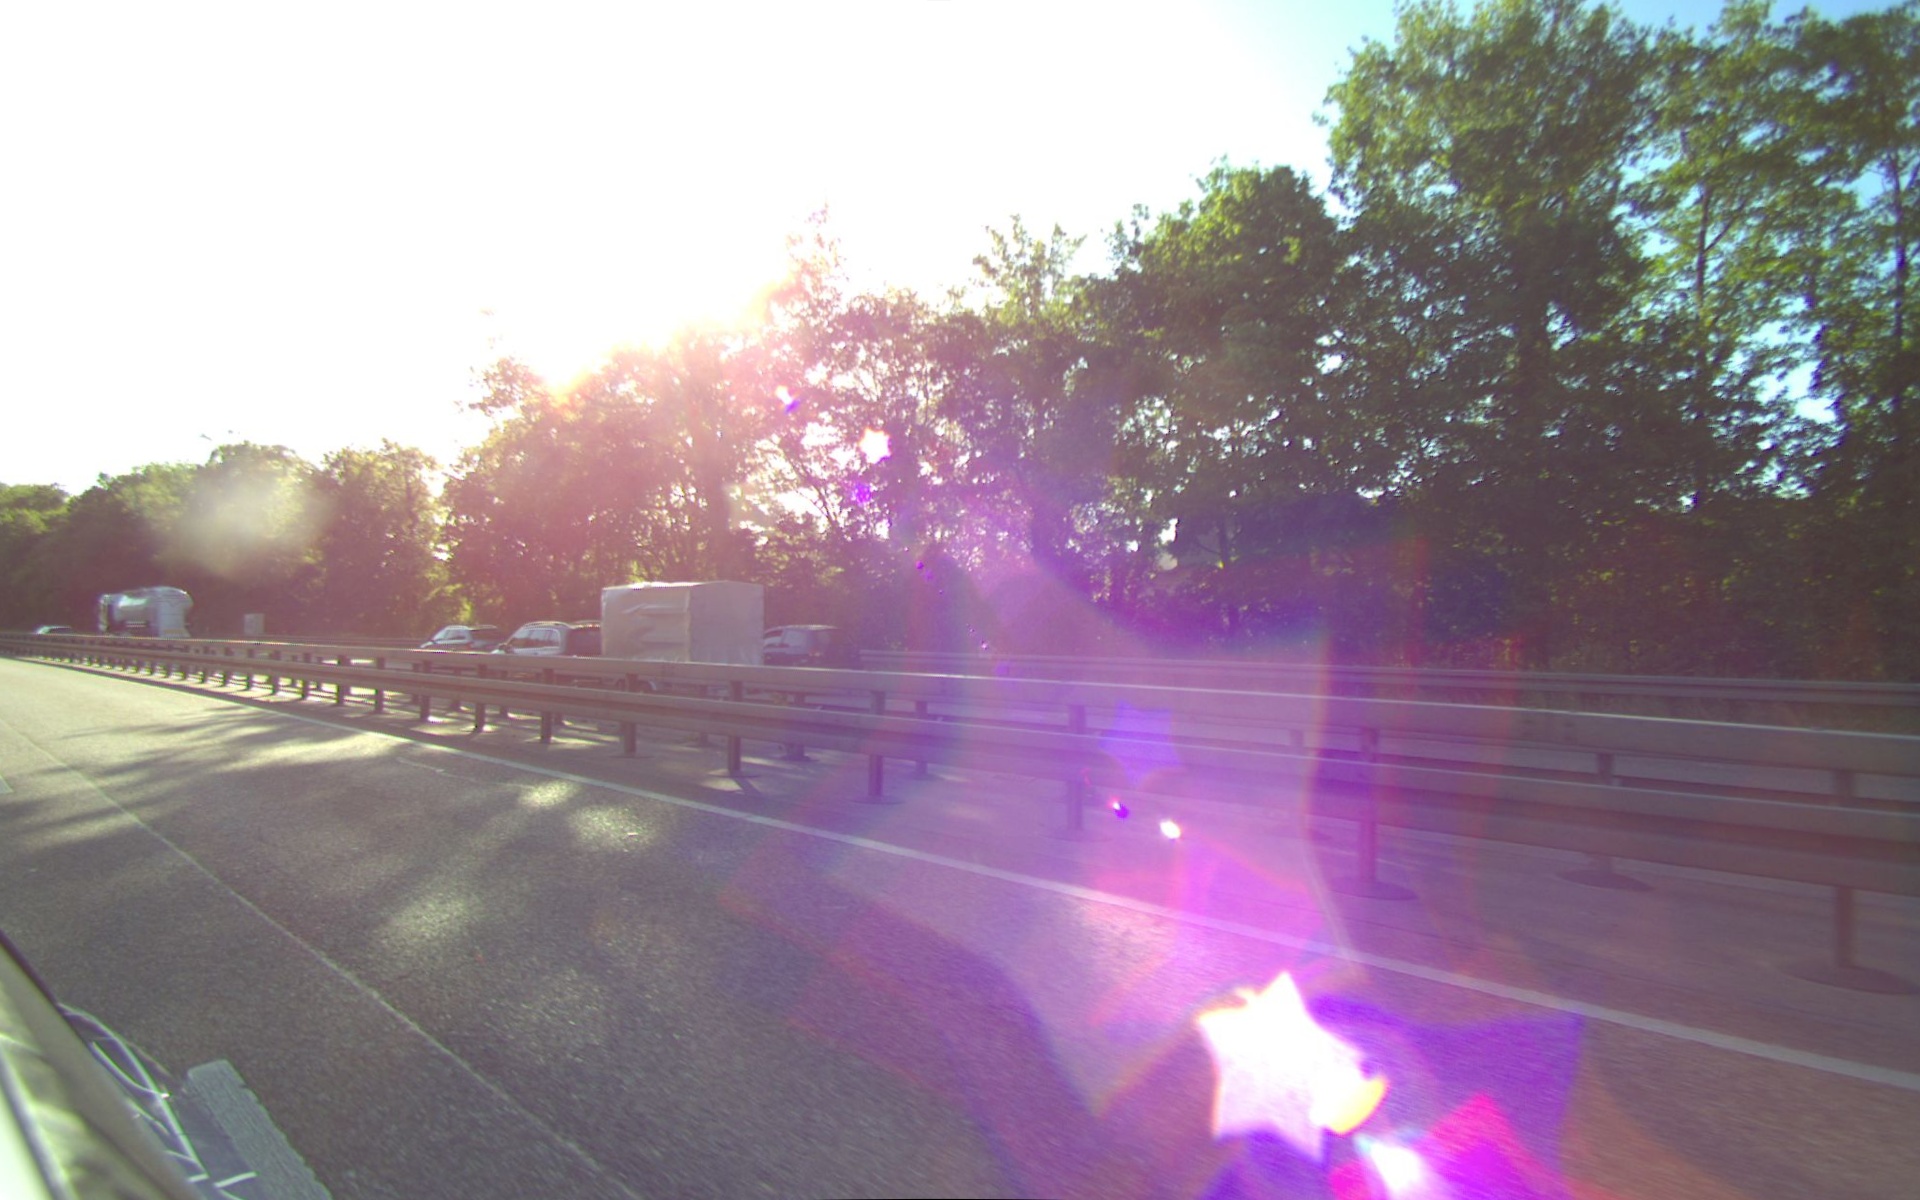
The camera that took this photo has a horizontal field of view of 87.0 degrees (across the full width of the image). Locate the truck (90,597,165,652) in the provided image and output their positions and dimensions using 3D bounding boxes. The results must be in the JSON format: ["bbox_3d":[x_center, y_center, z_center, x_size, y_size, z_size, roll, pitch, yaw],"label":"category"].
[{"bbox_3d":[-58.137,1.750,70.635,6.152,3.658,2.950,-2,-3,41],"label":"truck"}]

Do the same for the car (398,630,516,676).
[{"bbox_3d":[-17.796,1.817,35.720,4.984,1.478,2.049,-2,-2,42],"label":"car"}]

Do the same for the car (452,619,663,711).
[{"bbox_3d":[-8.824,1.331,21.942,5.221,1.761,2.050,-2,-3,40],"label":"car"}]

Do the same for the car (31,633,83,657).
[{"bbox_3d":[-57.485,2.829,64.398,4.692,1.478,1.780,-2,-3,39],"label":"car"}]

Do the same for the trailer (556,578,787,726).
[{"bbox_3d":[-5.541,0.942,19.164,4.603,2.456,1.973,-2,-3,40],"label":"trailer"}]

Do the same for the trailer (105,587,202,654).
[{"bbox_3d":[-52.540,1.417,65.753,10.967,4.028,3.020,-2,-3,41],"label":"trailer"}]

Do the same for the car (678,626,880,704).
[{"bbox_3d":[-4.378,1.448,23.988,5.057,1.626,2.049,-2,-2,42],"label":"car"}]
